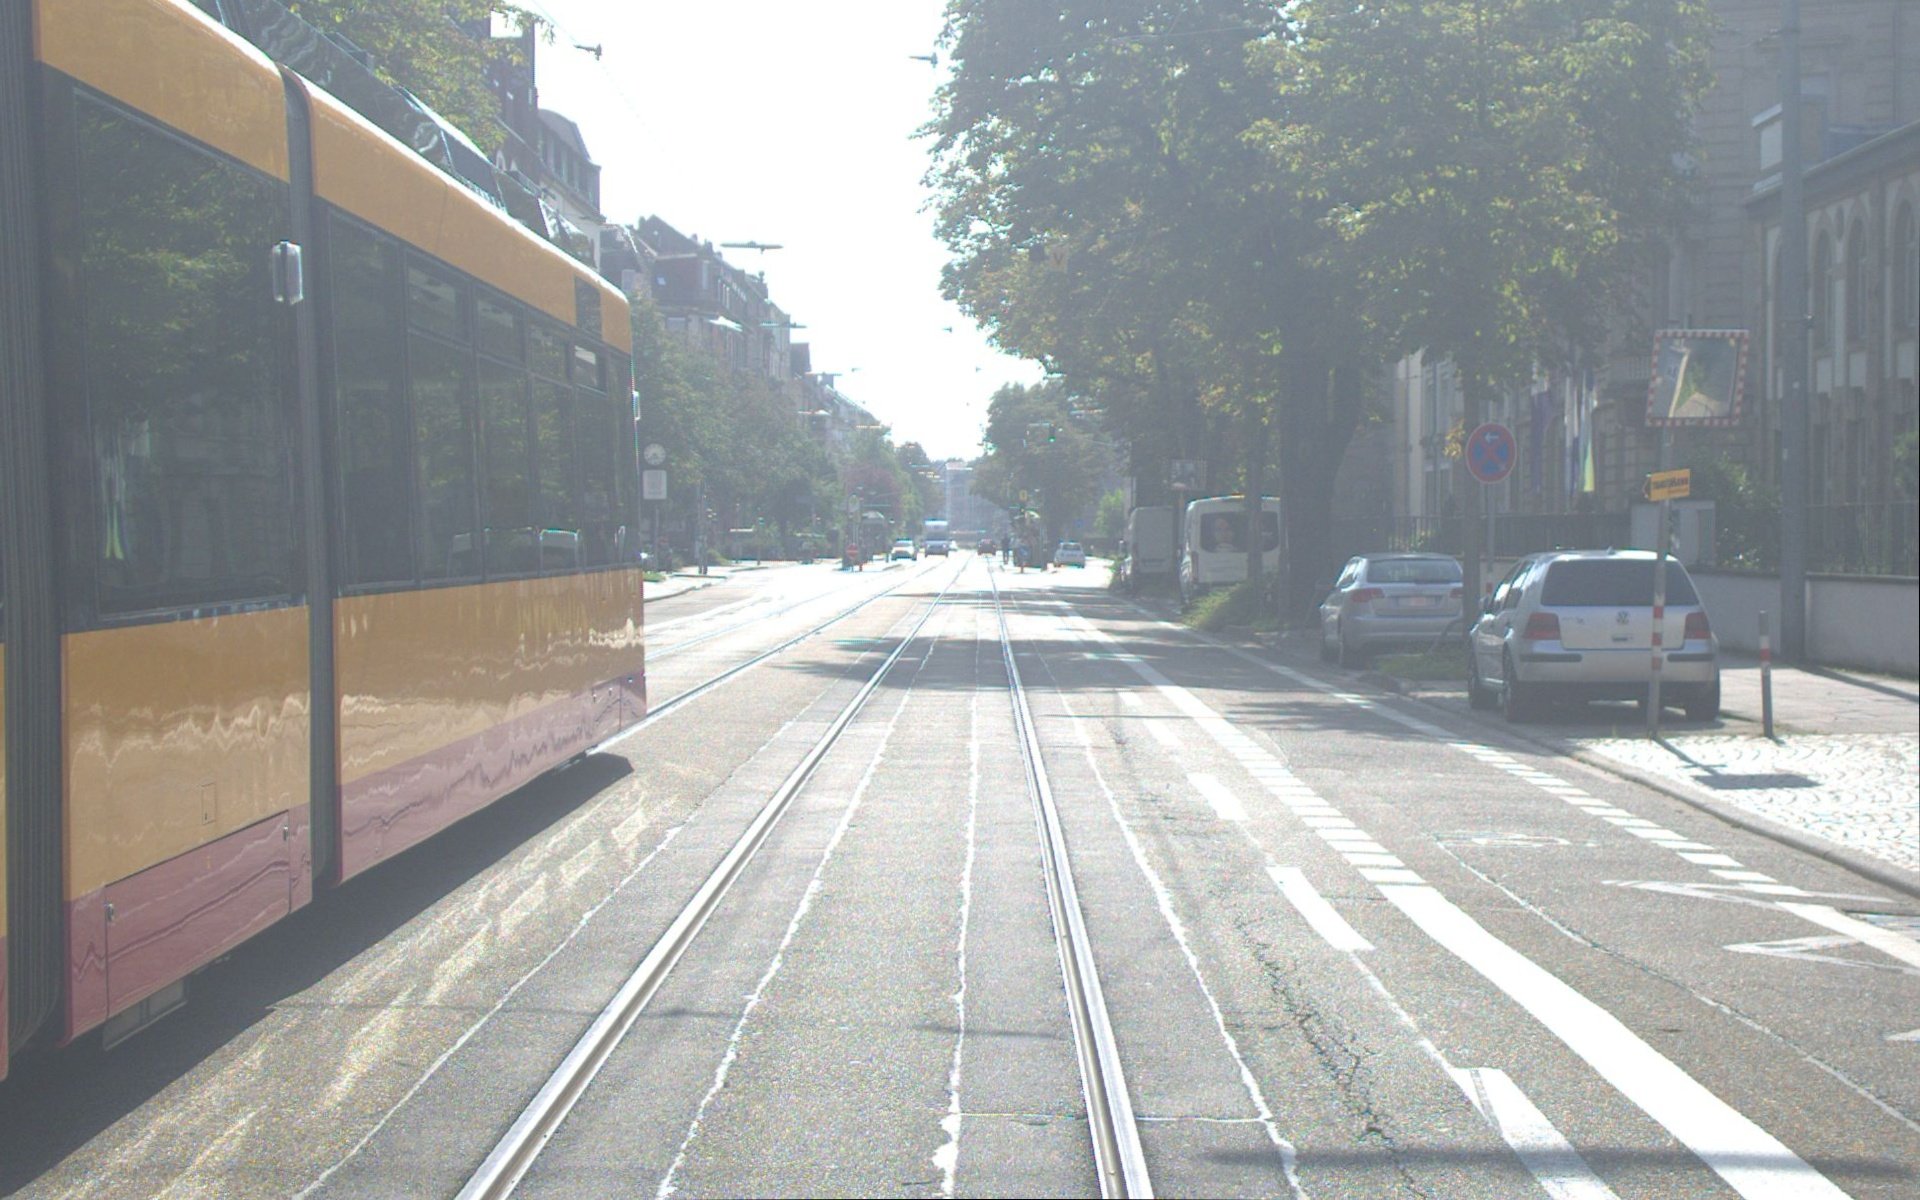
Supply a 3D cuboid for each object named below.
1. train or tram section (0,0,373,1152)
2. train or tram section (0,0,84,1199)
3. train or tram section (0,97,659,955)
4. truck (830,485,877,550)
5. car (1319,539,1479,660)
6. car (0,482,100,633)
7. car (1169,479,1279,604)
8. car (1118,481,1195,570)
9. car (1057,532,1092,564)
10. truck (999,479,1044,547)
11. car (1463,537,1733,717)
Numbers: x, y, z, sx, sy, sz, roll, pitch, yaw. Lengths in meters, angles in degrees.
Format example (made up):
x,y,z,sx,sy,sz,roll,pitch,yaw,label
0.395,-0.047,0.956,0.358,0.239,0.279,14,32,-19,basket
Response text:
x,y,z,sx,sy,sz,roll,pitch,yaw,label
-3.324,-0.218,9.609,2.706,2.847,3.649,0,1,1,train or tram section
-3.363,-0.109,4.469,2.729,2.839,6.543,0,1,1,train or tram section
-3.292,-0.361,16.732,2.680,2.852,10.544,0,1,0,train or tram section
-4.933,-3.847,159.837,1.993,2.965,4.571,0,1,0,truck
5.440,-0.034,42.960,1.595,1.413,3.634,1,1,1,car
-10.209,-0.411,32.644,1.569,1.438,3.754,2,2,41,car
5.426,-1.232,71.218,2.004,2.482,4.477,1,1,1,car
5.576,-2.135,98.106,2.004,2.466,4.477,1,1,1,car
6.674,-3.031,201.030,1.993,1.831,4.000,1,1,2,car
2.857,-4.044,159.666,1.860,3.120,4.353,1,1,-1,truck
5.384,0.183,29.389,1.690,1.413,3.634,1,1,1,car
